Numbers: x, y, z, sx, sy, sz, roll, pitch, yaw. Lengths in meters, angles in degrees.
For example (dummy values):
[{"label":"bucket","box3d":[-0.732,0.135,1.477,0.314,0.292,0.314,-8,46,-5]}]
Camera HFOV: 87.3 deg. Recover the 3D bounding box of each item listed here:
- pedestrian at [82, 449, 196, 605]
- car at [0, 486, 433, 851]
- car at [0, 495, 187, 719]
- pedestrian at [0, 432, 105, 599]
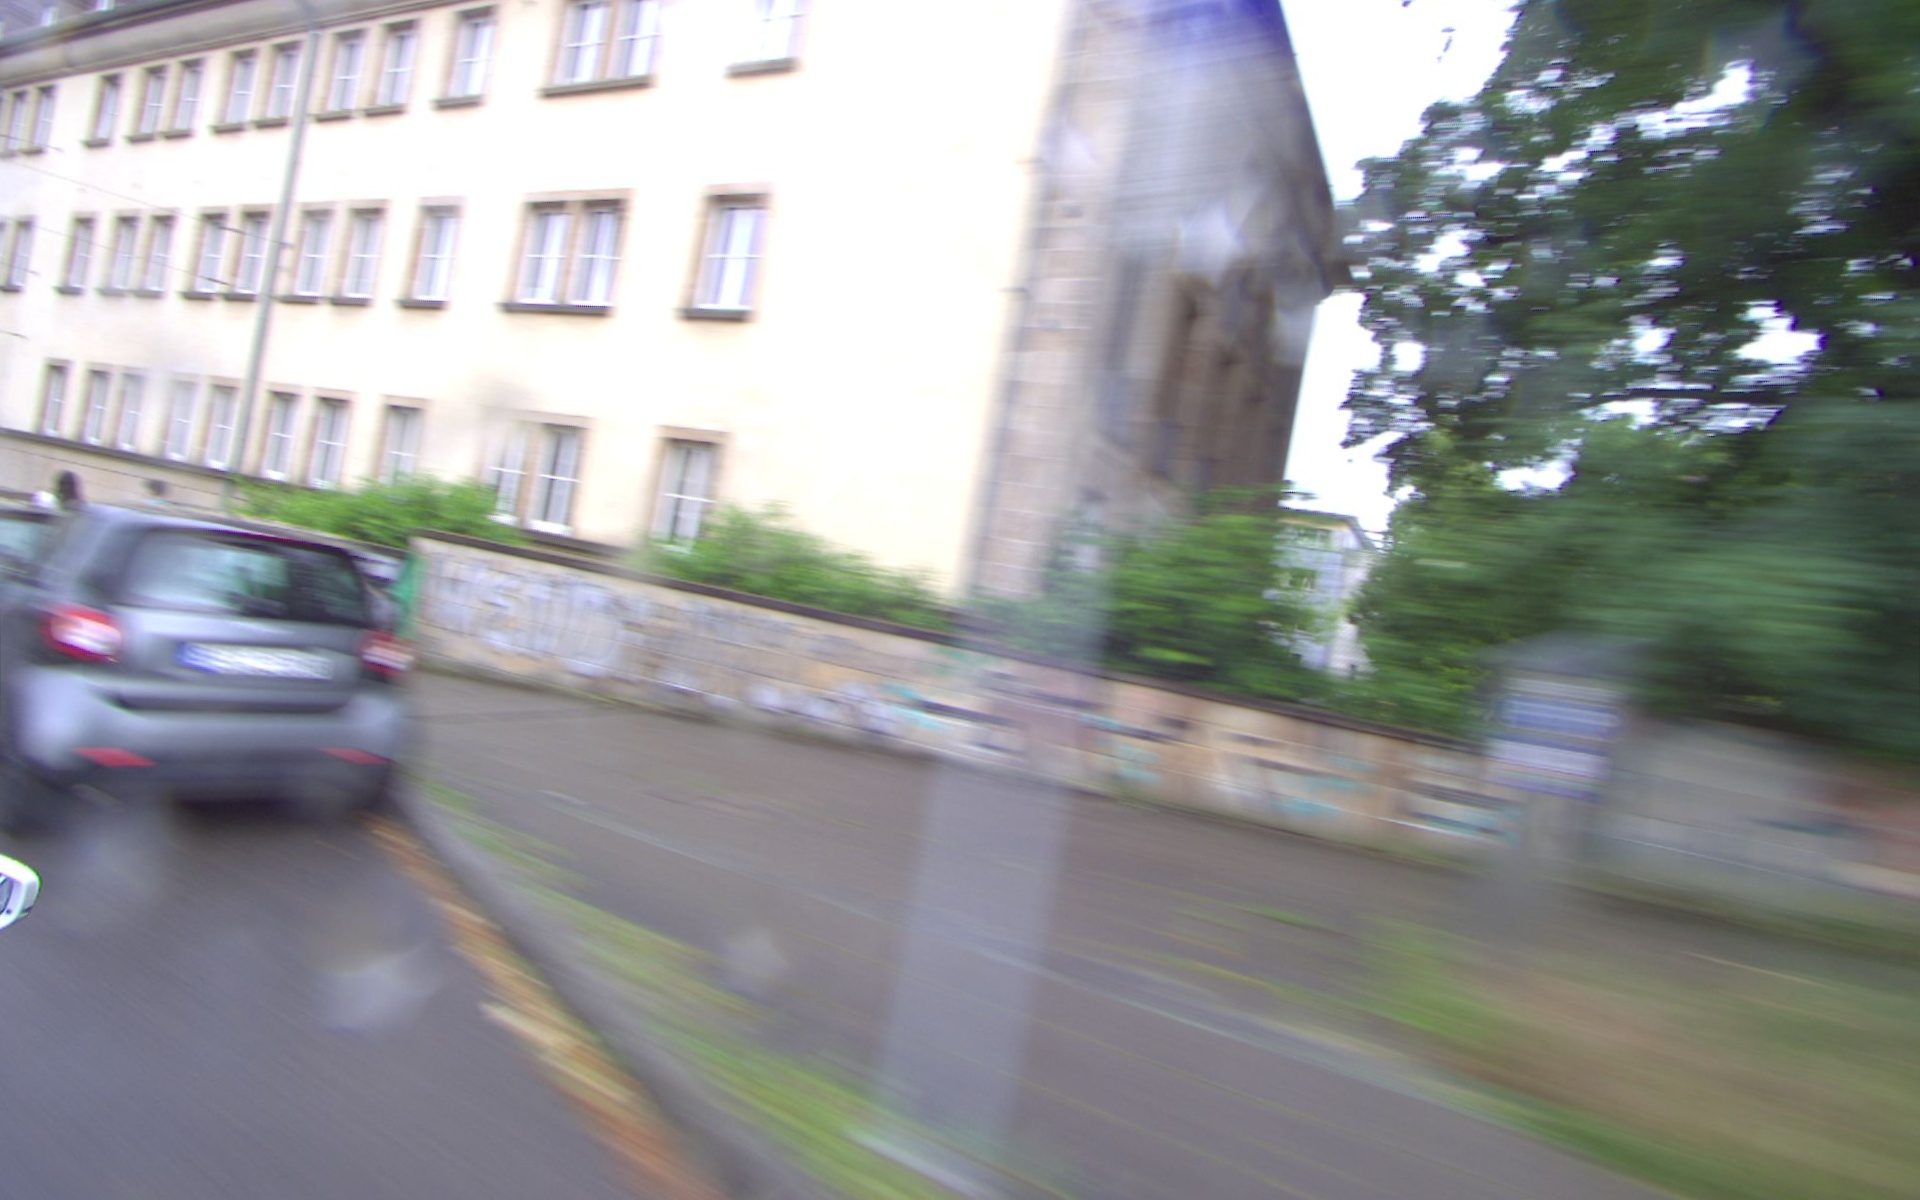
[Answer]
[{"label":"pedestrian","box3d":[-10.129,-0.894,12.416,0.726,1.776,0.719,8,0,29]},{"label":"car","box3d":[-4.438,0.245,5.620,2.680,1.483,1.597,8,0,39]},{"label":"car","box3d":[-7.795,-0.116,7.680,3.580,1.434,1.539,8,0,27]},{"label":"pedestrian","box3d":[-10.556,-0.960,11.592,0.726,1.776,0.719,8,0,29]}]
